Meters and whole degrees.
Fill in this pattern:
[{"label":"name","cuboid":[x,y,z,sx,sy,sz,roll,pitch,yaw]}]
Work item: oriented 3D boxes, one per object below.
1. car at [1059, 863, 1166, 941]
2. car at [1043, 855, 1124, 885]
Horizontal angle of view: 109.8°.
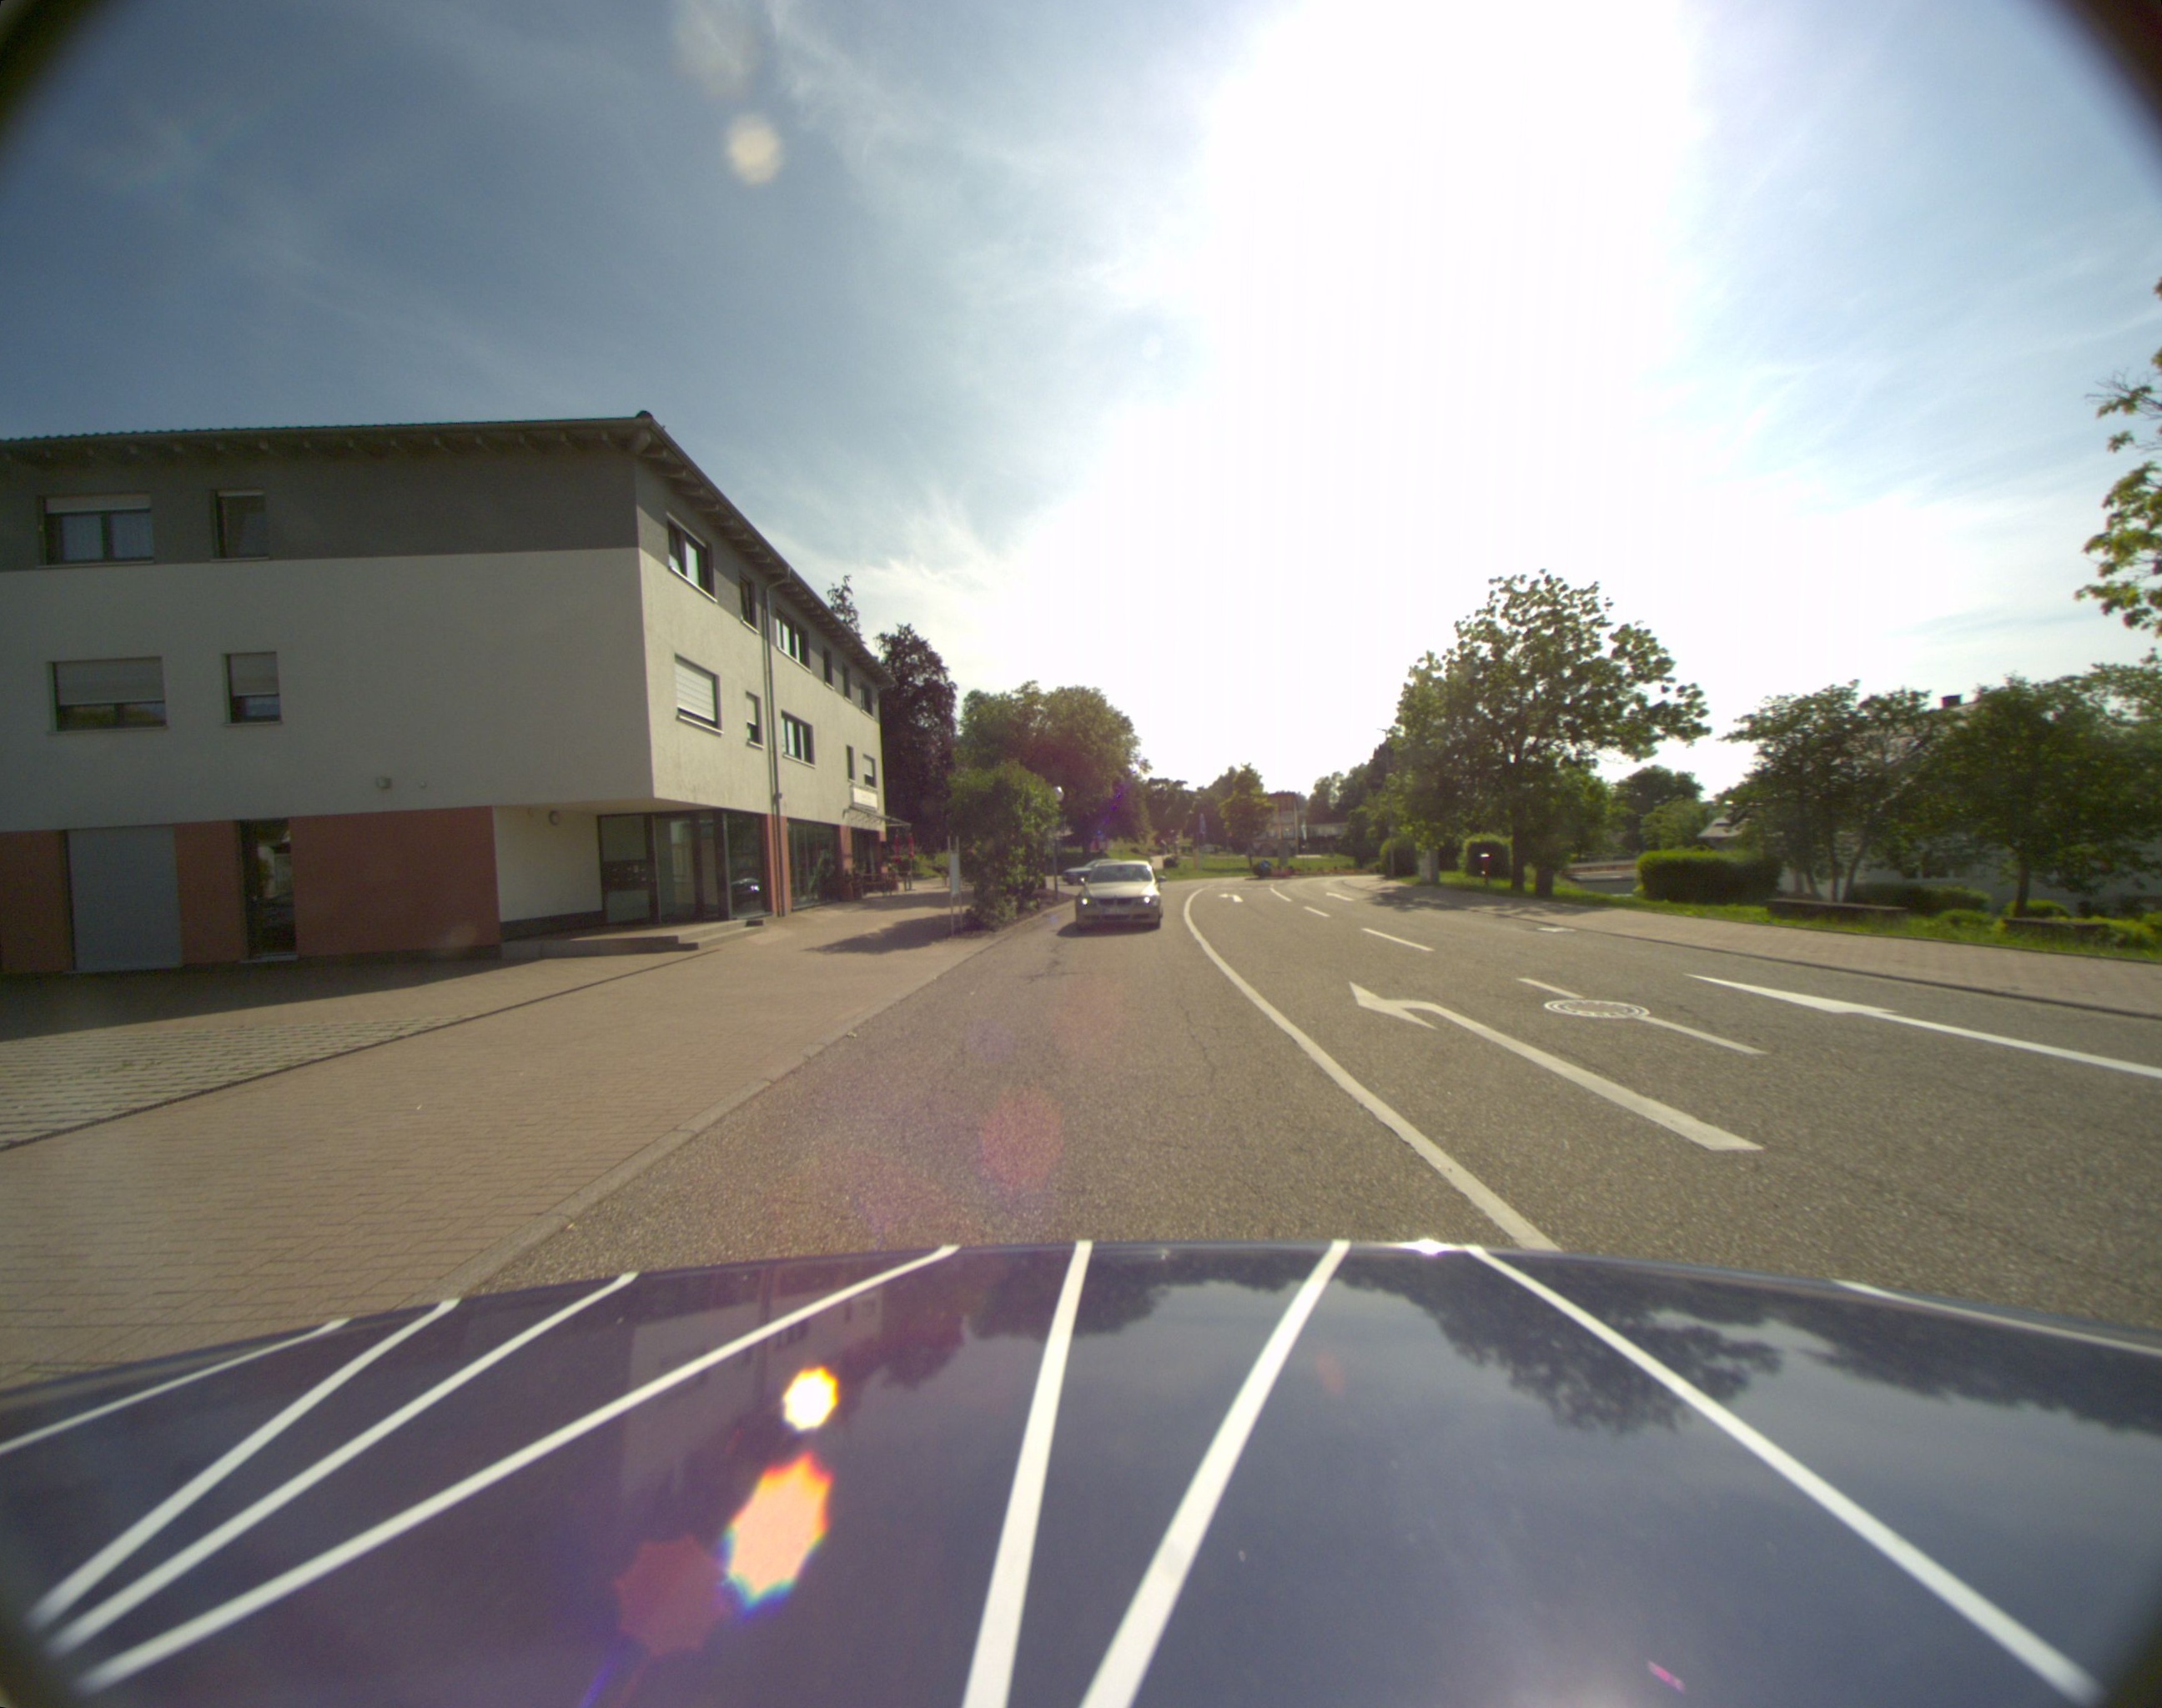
[{"label":"car","cuboid":[0.834,0.915,16.410,1.837,1.360,4.584,1,0,8]},{"label":"car","cuboid":[0.108,0.863,41.667,4.003,1.499,1.901,1,2,-18]}]
